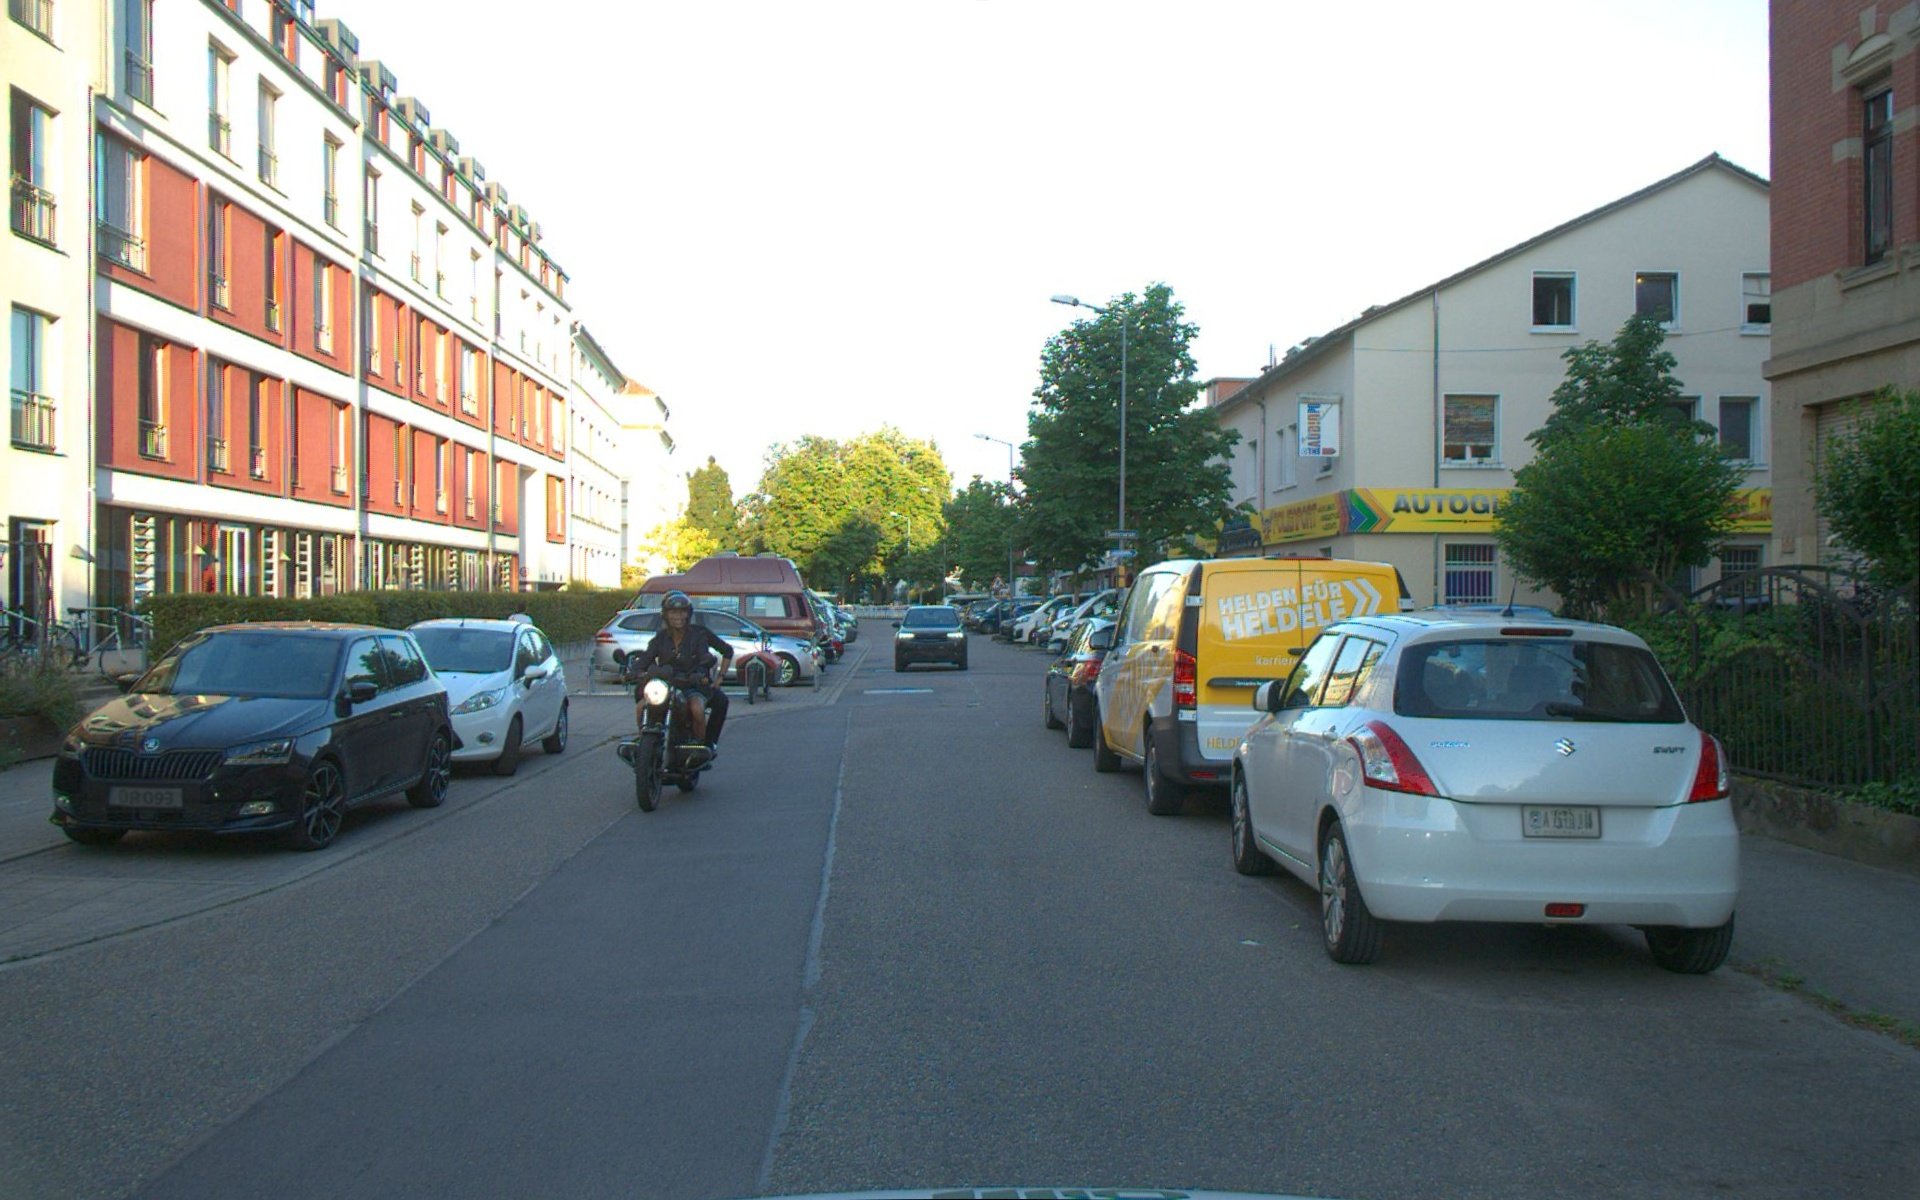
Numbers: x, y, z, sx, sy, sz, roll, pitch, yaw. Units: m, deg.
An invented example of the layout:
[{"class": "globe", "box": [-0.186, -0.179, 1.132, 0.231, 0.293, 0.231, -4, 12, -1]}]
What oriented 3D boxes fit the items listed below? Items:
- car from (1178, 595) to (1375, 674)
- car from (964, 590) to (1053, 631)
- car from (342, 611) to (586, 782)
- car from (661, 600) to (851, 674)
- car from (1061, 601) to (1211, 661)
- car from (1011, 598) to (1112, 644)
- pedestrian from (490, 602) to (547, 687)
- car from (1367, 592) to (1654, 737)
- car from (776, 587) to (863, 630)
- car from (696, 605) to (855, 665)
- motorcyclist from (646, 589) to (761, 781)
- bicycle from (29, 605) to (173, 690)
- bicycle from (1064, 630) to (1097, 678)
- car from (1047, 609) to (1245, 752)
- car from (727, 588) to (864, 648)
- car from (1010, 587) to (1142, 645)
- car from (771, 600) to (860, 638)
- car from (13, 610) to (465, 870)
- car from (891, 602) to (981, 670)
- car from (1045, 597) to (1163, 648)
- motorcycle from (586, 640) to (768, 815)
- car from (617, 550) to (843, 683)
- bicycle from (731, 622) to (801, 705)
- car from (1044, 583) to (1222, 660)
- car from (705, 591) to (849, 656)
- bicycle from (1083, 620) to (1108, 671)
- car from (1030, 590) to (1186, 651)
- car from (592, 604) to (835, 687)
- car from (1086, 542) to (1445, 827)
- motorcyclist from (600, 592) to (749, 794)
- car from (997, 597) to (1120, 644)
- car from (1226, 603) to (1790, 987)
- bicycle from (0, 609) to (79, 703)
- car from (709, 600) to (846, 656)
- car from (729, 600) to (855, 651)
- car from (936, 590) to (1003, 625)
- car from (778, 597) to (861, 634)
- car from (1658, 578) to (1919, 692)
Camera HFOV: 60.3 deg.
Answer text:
[{"class": "car", "box": [6.939, 0.746, 36.510, 3.968, 1.540, 1.756, -2, 2, -1]}, {"class": "car", "box": [2.505, 0.549, 86.170, 4.394, 1.945, 1.685, -2, 0, -7]}, {"class": "car", "box": [-5.045, 0.904, 17.327, 1.618, 1.557, 4.013, 0, 0, -5]}, {"class": "car", "box": [-4.552, 0.815, 37.383, 4.126, 1.565, 1.789, 1, 0, -4]}, {"class": "car", "box": [4.852, 0.839, 45.874, 3.842, 1.476, 1.767, -2, 0, -4]}, {"class": "car", "box": [4.503, 0.915, 73.667, 4.231, 1.835, 1.809, -2, 0, -4]}, {"class": "pedestrian", "box": [-8.131, 0.809, 30.494, 0.815, 1.527, 0.798, 1, 0, -1]}, {"class": "car", "box": [6.307, 0.679, 19.514, 1.692, 1.449, 4.421, -2, 0, -3]}, {"class": "car", "box": [-7.466, 0.458, 88.217, 4.442, 2.171, 1.999, 1, 0, -2]}, {"class": "car", "box": [-4.965, 0.927, 44.978, 4.124, 1.516, 1.849, 1, 0, -1]}, {"class": "motorcyclist", "box": [-2.175, 0.715, 14.077, 0.770, 1.567, 0.546, -3, -1, 8]}, {"class": "bicycle", "box": [-12.361, 0.678, 23.830, 1.739, 1.168, 0.610, 1, 0, 0]}, {"class": "bicycle", "box": [3.008, 1.337, 41.468, 0.430, 1.150, 2.014, -1, 0, -7]}, {"class": "car", "box": [2.057, 0.855, 19.362, 1.687, 1.449, 4.251, 1, 0, -2]}, {"class": "car", "box": [-5.909, 0.646, 59.756, 4.753, 2.056, 1.906, 1, 0, -2]}, {"class": "car", "box": [4.449, 0.613, 63.926, 4.846, 1.992, 2.048, -2, 0, -4]}, {"class": "car", "box": [-7.037, 0.914, 80.817, 4.171, 1.744, 1.999, 1, 0, -2]}, {"class": "car", "box": [-4.947, 0.860, 11.958, 1.669, 1.561, 3.843, 0, 0, -2]}, {"class": "car", "box": [-0.539, 0.841, 40.612, 1.742, 1.544, 4.002, -2, 0, 5]}, {"class": "car", "box": [4.915, 0.765, 56.812, 3.832, 1.552, 1.938, -2, 0, -1]}, {"class": "motorcycle", "box": [-2.264, 0.994, 13.560, 0.828, 1.230, 2.076, -3, 0, 8]}, {"class": "car", "box": [-4.769, 0.340, 34.810, 4.419, 2.629, 2.000, 1, 0, -1]}, {"class": "bicycle", "box": [-3.138, 0.996, 26.982, 0.791, 1.243, 2.865, 1, 0, 0]}, {"class": "car", "box": [5.030, 0.620, 48.669, 4.889, 2.018, 2.219, -2, 0, -2]}, {"class": "car", "box": [-5.538, 0.716, 50.383, 4.171, 1.868, 1.999, 1, 0, -2]}, {"class": "bicycle", "box": [3.406, 1.125, 41.669, 0.378, 1.221, 2.017, -1, 0, -1]}, {"class": "car", "box": [4.792, 0.657, 54.007, 4.844, 1.772, 2.049, -2, 0, -1]}, {"class": "car", "box": [-4.721, 0.869, 32.230, 4.526, 1.486, 1.879, 1, 0, -5]}, {"class": "car", "box": [2.260, 0.579, 13.703, 1.855, 1.917, 5.079, 0, 0, -2]}, {"class": "motorcyclist", "box": [-2.293, 0.729, 13.395, 0.870, 1.531, 0.970, -3, -1, 8]}, {"class": "car", "box": [4.043, 0.825, 68.746, 4.846, 1.718, 2.075, -2, 0, -4]}, {"class": "car", "box": [2.469, 0.773, 8.439, 1.640, 1.503, 3.862, 0, 0, 1]}, {"class": "bicycle", "box": [-12.403, 0.696, 21.092, 1.876, 1.161, 0.811, 1, 0, -1]}, {"class": "car", "box": [-5.798, 0.879, 52.846, 4.171, 1.689, 1.999, 1, 0, -2]}, {"class": "car", "box": [-5.757, 0.869, 57.204, 4.171, 1.681, 1.887, 1, 0, -2]}, {"class": "car", "box": [0.565, 0.453, 101.718, 3.892, 1.945, 2.046, -2, 0, -7]}, {"class": "car", "box": [-7.240, 0.793, 85.584, 4.171, 1.780, 1.999, 1, 0, -2]}, {"class": "car", "box": [13.556, 0.550, 26.133, 4.233, 1.702, 1.877, -1, -2, -4]}]
